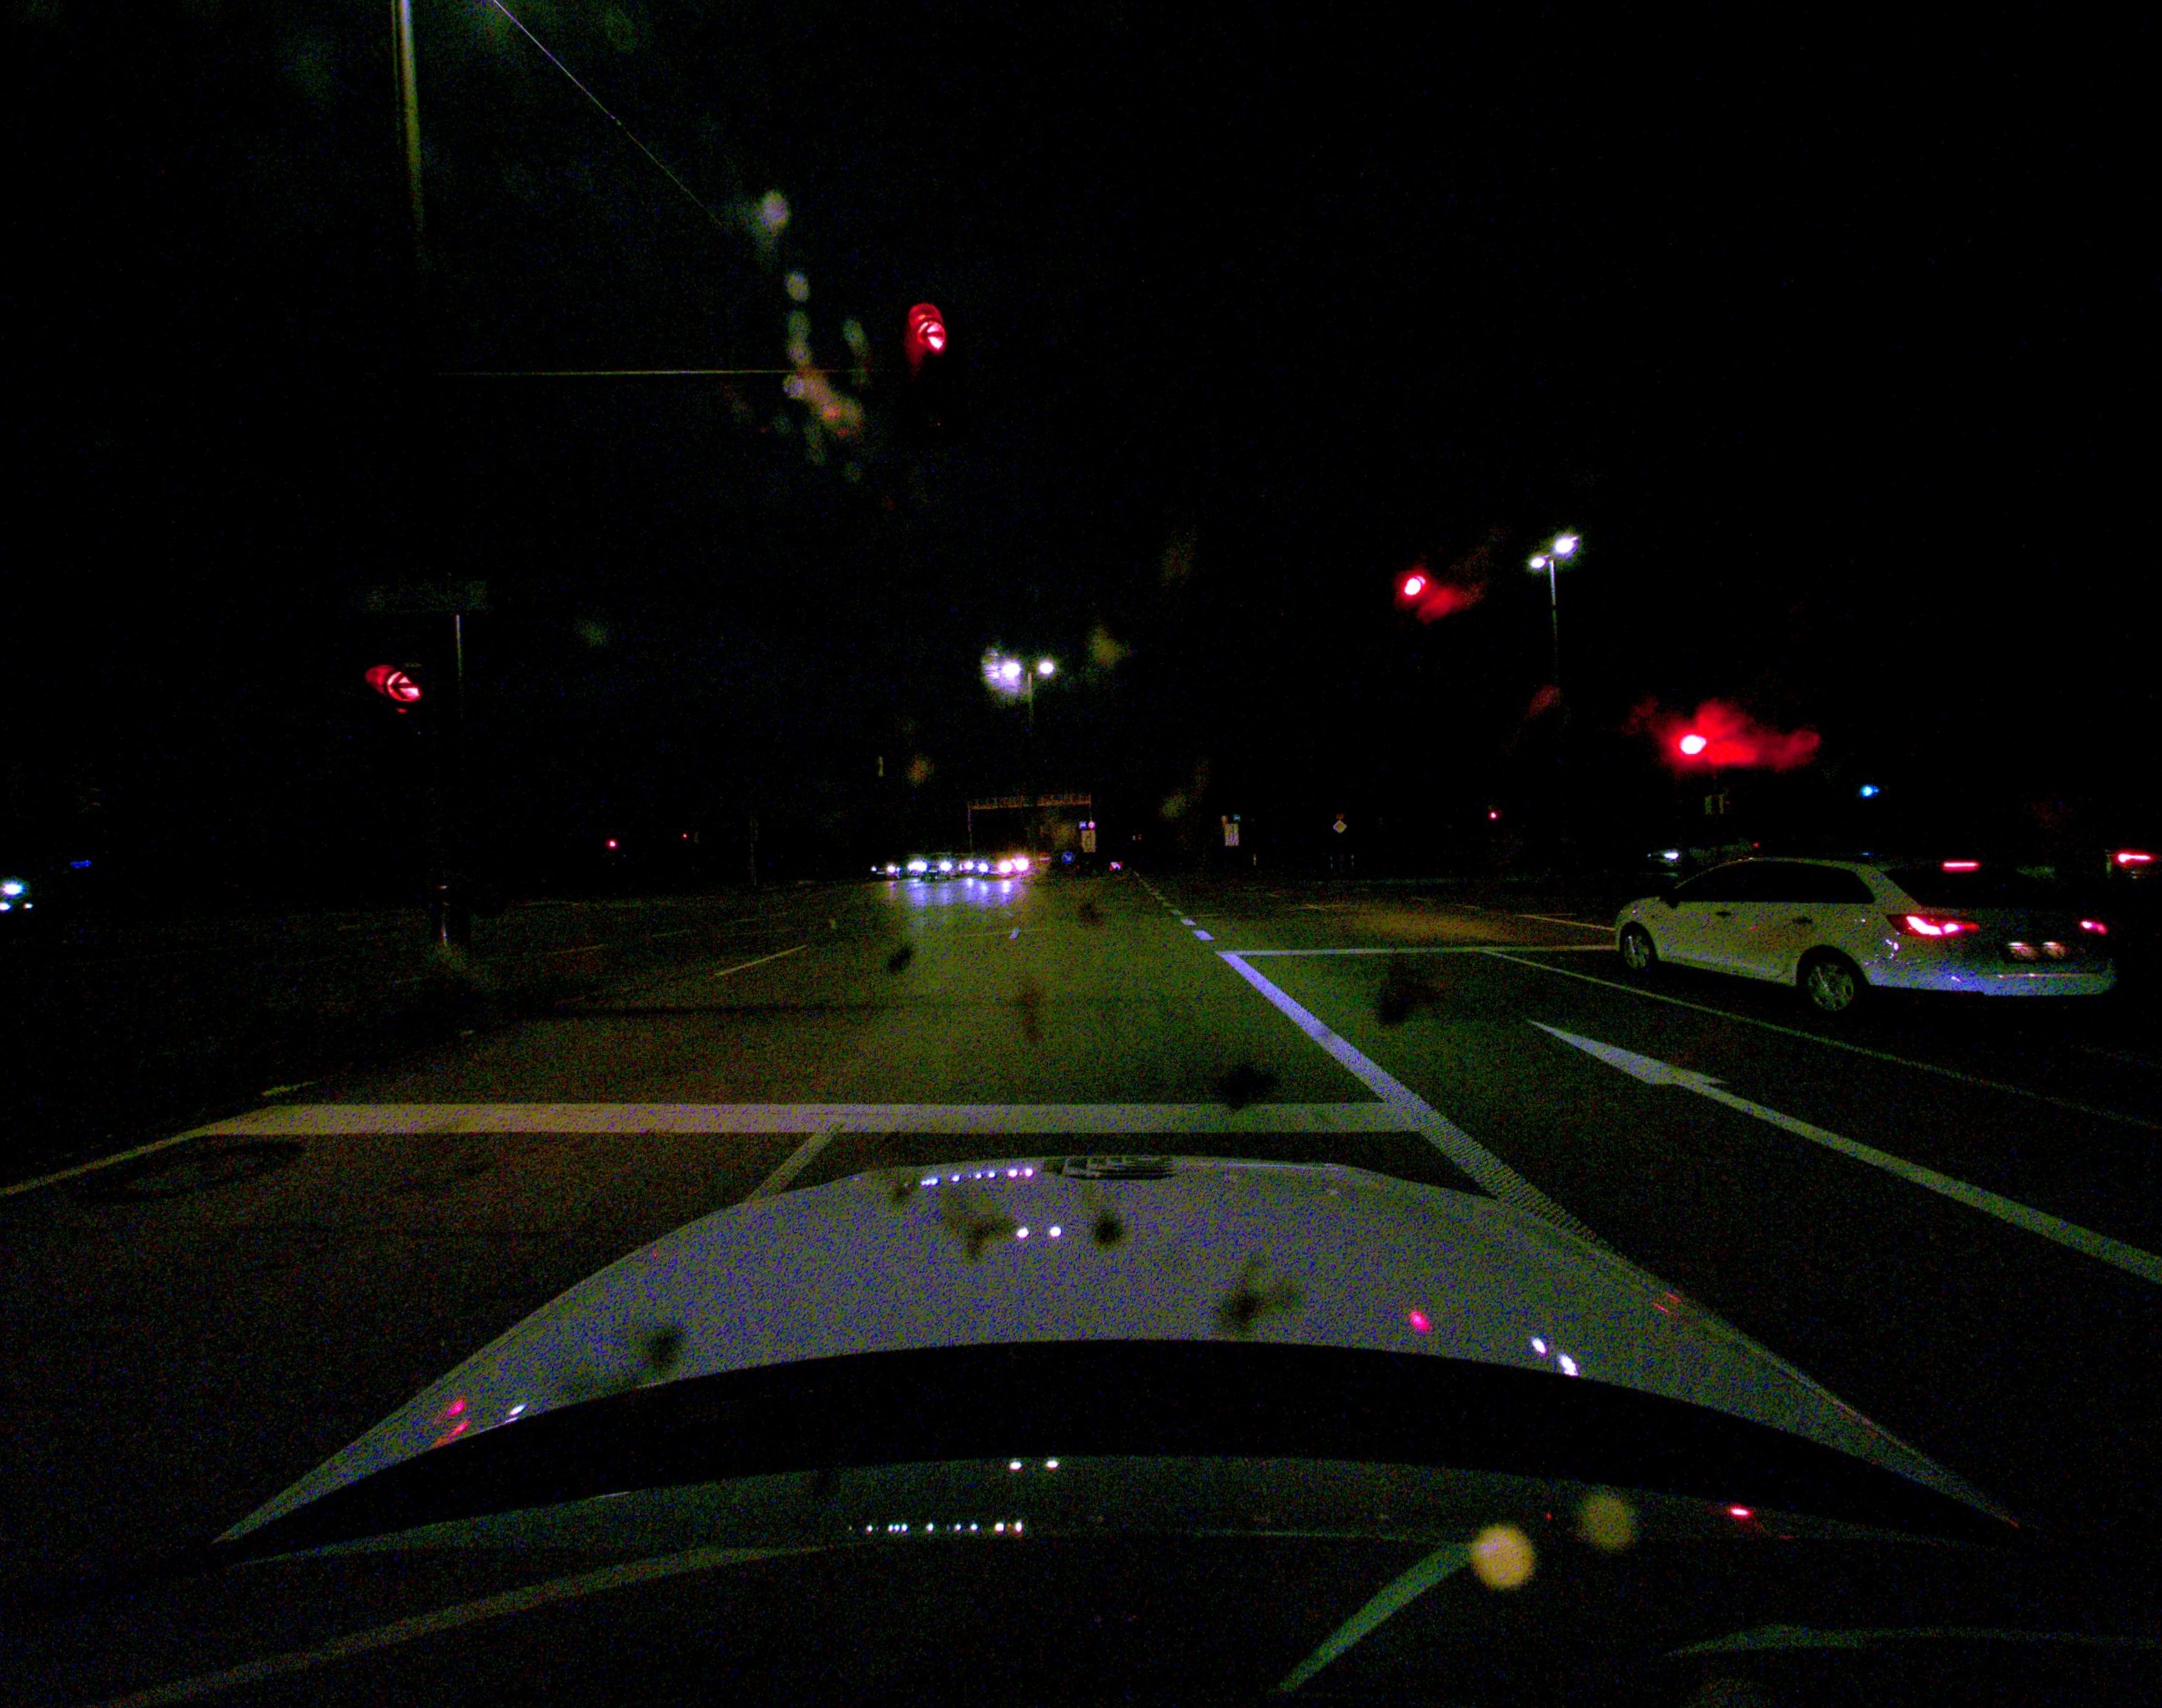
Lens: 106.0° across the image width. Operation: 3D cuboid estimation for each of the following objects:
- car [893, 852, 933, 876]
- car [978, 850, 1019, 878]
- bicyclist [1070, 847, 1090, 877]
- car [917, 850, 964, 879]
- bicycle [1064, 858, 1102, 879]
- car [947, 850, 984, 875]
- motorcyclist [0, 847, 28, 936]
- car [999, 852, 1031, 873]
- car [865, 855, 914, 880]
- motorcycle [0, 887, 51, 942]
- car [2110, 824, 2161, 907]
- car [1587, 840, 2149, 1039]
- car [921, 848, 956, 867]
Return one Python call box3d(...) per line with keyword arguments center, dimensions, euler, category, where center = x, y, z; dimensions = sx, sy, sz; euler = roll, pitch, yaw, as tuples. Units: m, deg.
box3d(center=(-12.015, 0.699, 58.481), dimensions=(1.824, 1.524, 4.003), euler=(-2, 0, 3), category="car")
box3d(center=(-5.084, 0.591, 51.005), dimensions=(1.844, 1.633, 4.589), euler=(-1, 1, 3), category="car")
box3d(center=(-0.061, 0.444, 44.710), dimensions=(0.995, 1.651, 0.603), euler=(-1, 0, -3), category="bicyclist")
box3d(center=(-8.749, 0.632, 50.983), dimensions=(1.900, 1.682, 4.424), euler=(-1, 1, 4), category="car")
box3d(center=(0.101, 0.802, 44.705), dimensions=(2.057, 1.101, 0.694), euler=(-1, 0, -4), category="bicycle")
box3d(center=(-8.261, 0.597, 58.394), dimensions=(1.738, 1.626, 4.367), euler=(-1, 1, 4), category="car")
box3d(center=(-24.782, 0.844, 18.547), dimensions=(0.761, 2.013, 0.637), euler=(-1, 0, 6), category="motorcyclist")
box3d(center=(-4.754, 0.592, 58.965), dimensions=(1.765, 1.481, 3.914), euler=(-1, 0, 4), category="car")
box3d(center=(-12.197, 0.820, 52.121), dimensions=(1.772, 1.445, 4.297), euler=(-1, 1, 5), category="car")
box3d(center=(-24.547, 1.367, 18.414), dimensions=(1.793, 1.163, 0.674), euler=(-1, 0, 6), category="motorcycle")
box3d(center=(22.961, 0.182, 17.030), dimensions=(4.080, 1.573, 1.720), euler=(-2, 1, -39), category="car")
box3d(center=(7.177, 0.639, 8.157), dimensions=(1.614, 1.443, 4.117), euler=(-2, 0, -1), category="car")
box3d(center=(-11.537, 0.249, 66.122), dimensions=(1.824, 1.390, 4.401), euler=(-2, 1, 3), category="car")
